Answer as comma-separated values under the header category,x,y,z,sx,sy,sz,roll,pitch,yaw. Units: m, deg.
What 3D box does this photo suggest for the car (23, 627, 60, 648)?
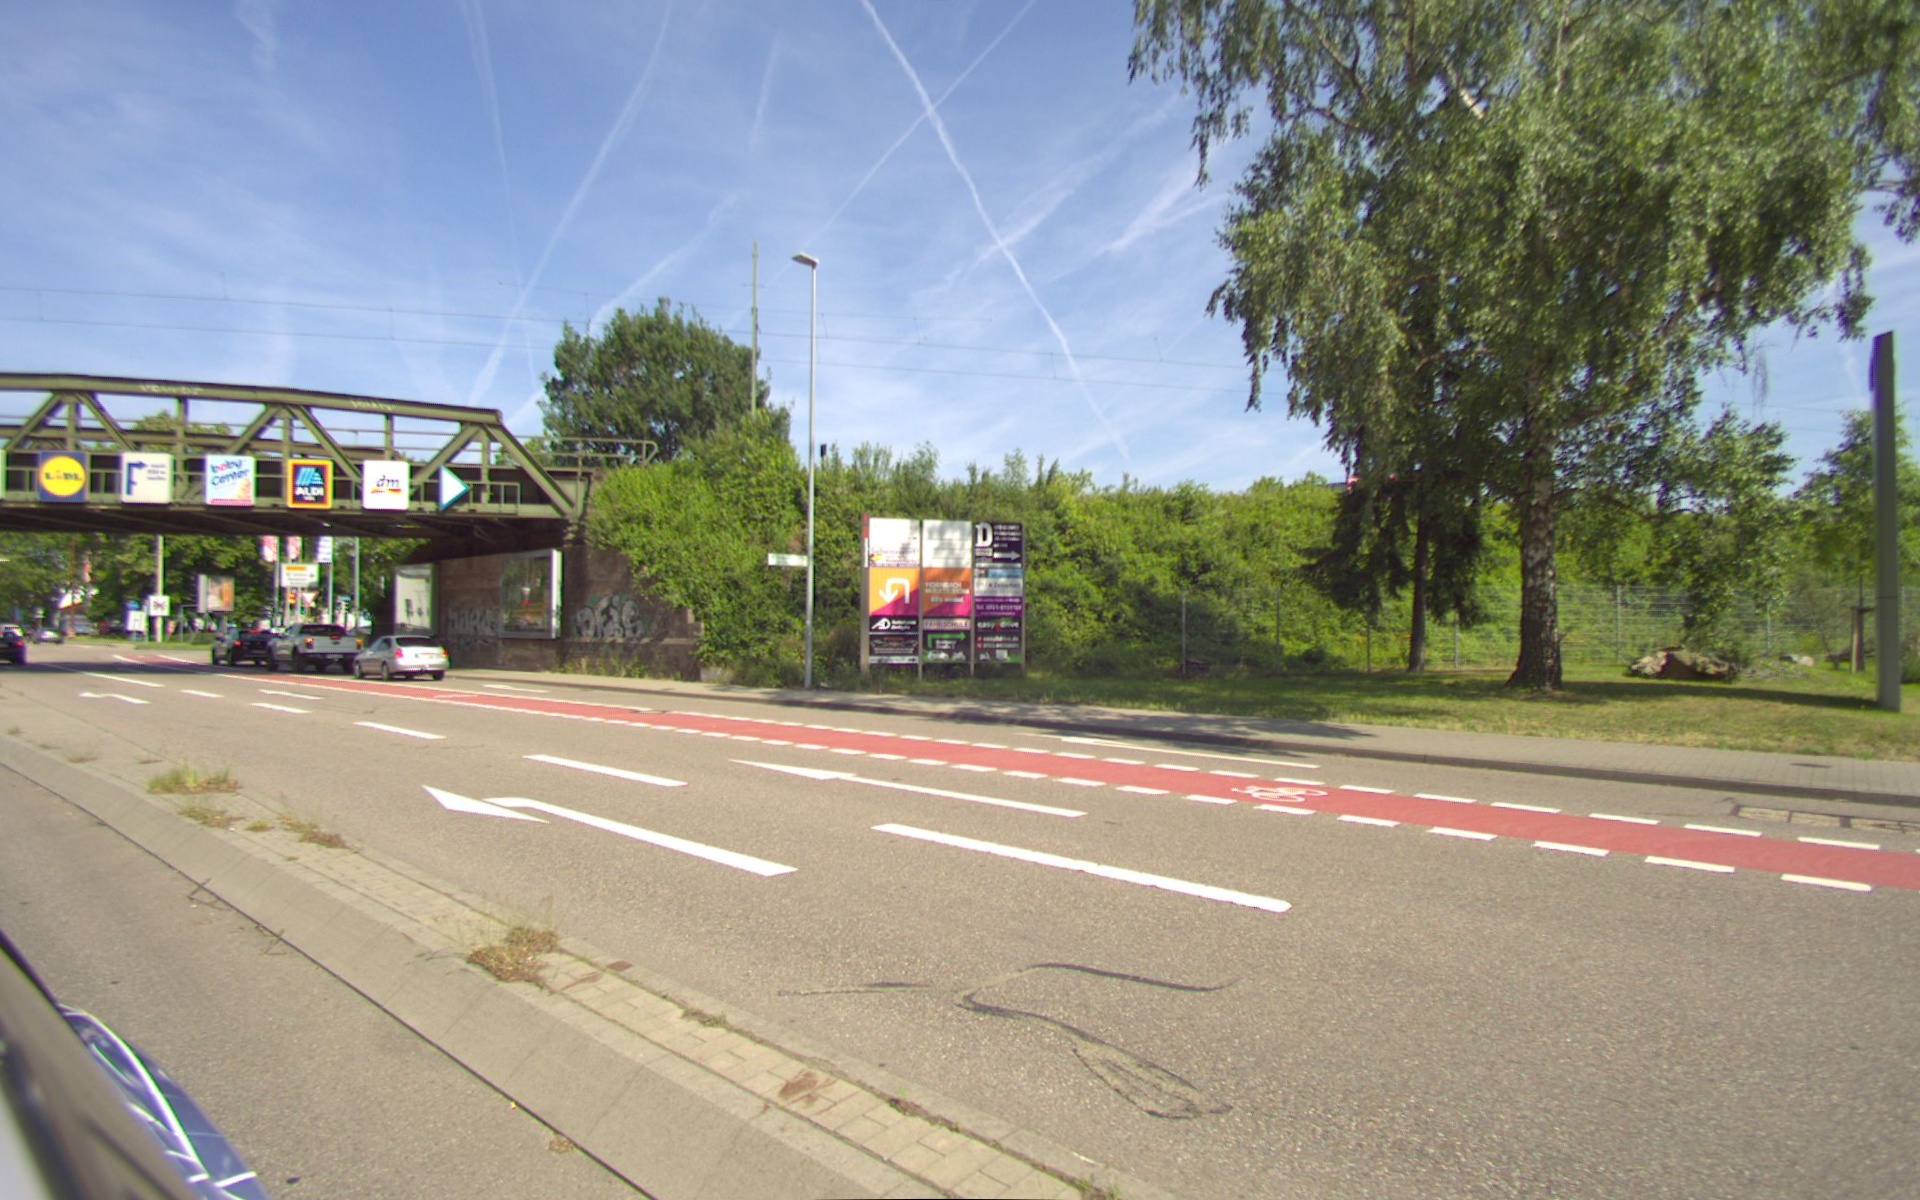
category,x,y,z,sx,sy,sz,roll,pitch,yaw
car,-78.555,3.207,86.538,3.633,1.734,1.801,-1,-1,39

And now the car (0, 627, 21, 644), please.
category,x,y,z,sx,sy,sz,roll,pitch,yaw
car,-99.575,3.733,105.668,3.633,1.734,1.801,-1,-1,39

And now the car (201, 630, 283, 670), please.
category,x,y,z,sx,sy,sz,roll,pitch,yaw
car,-30.592,2.074,43.083,4.385,1.608,1.853,-1,-3,41

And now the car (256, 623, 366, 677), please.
category,x,y,z,sx,sy,sz,roll,pitch,yaw
car,-24.278,1.838,37.773,5.448,1.875,1.972,-1,-4,41

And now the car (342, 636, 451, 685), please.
category,x,y,z,sx,sy,sz,roll,pitch,yaw
car,-17.587,1.830,31.485,4.317,1.398,1.618,-1,-3,42

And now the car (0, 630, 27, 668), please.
category,x,y,z,sx,sy,sz,roll,pitch,yaw
car,-38.768,1.924,40.430,4.119,1.458,1.762,-1,-3,42
